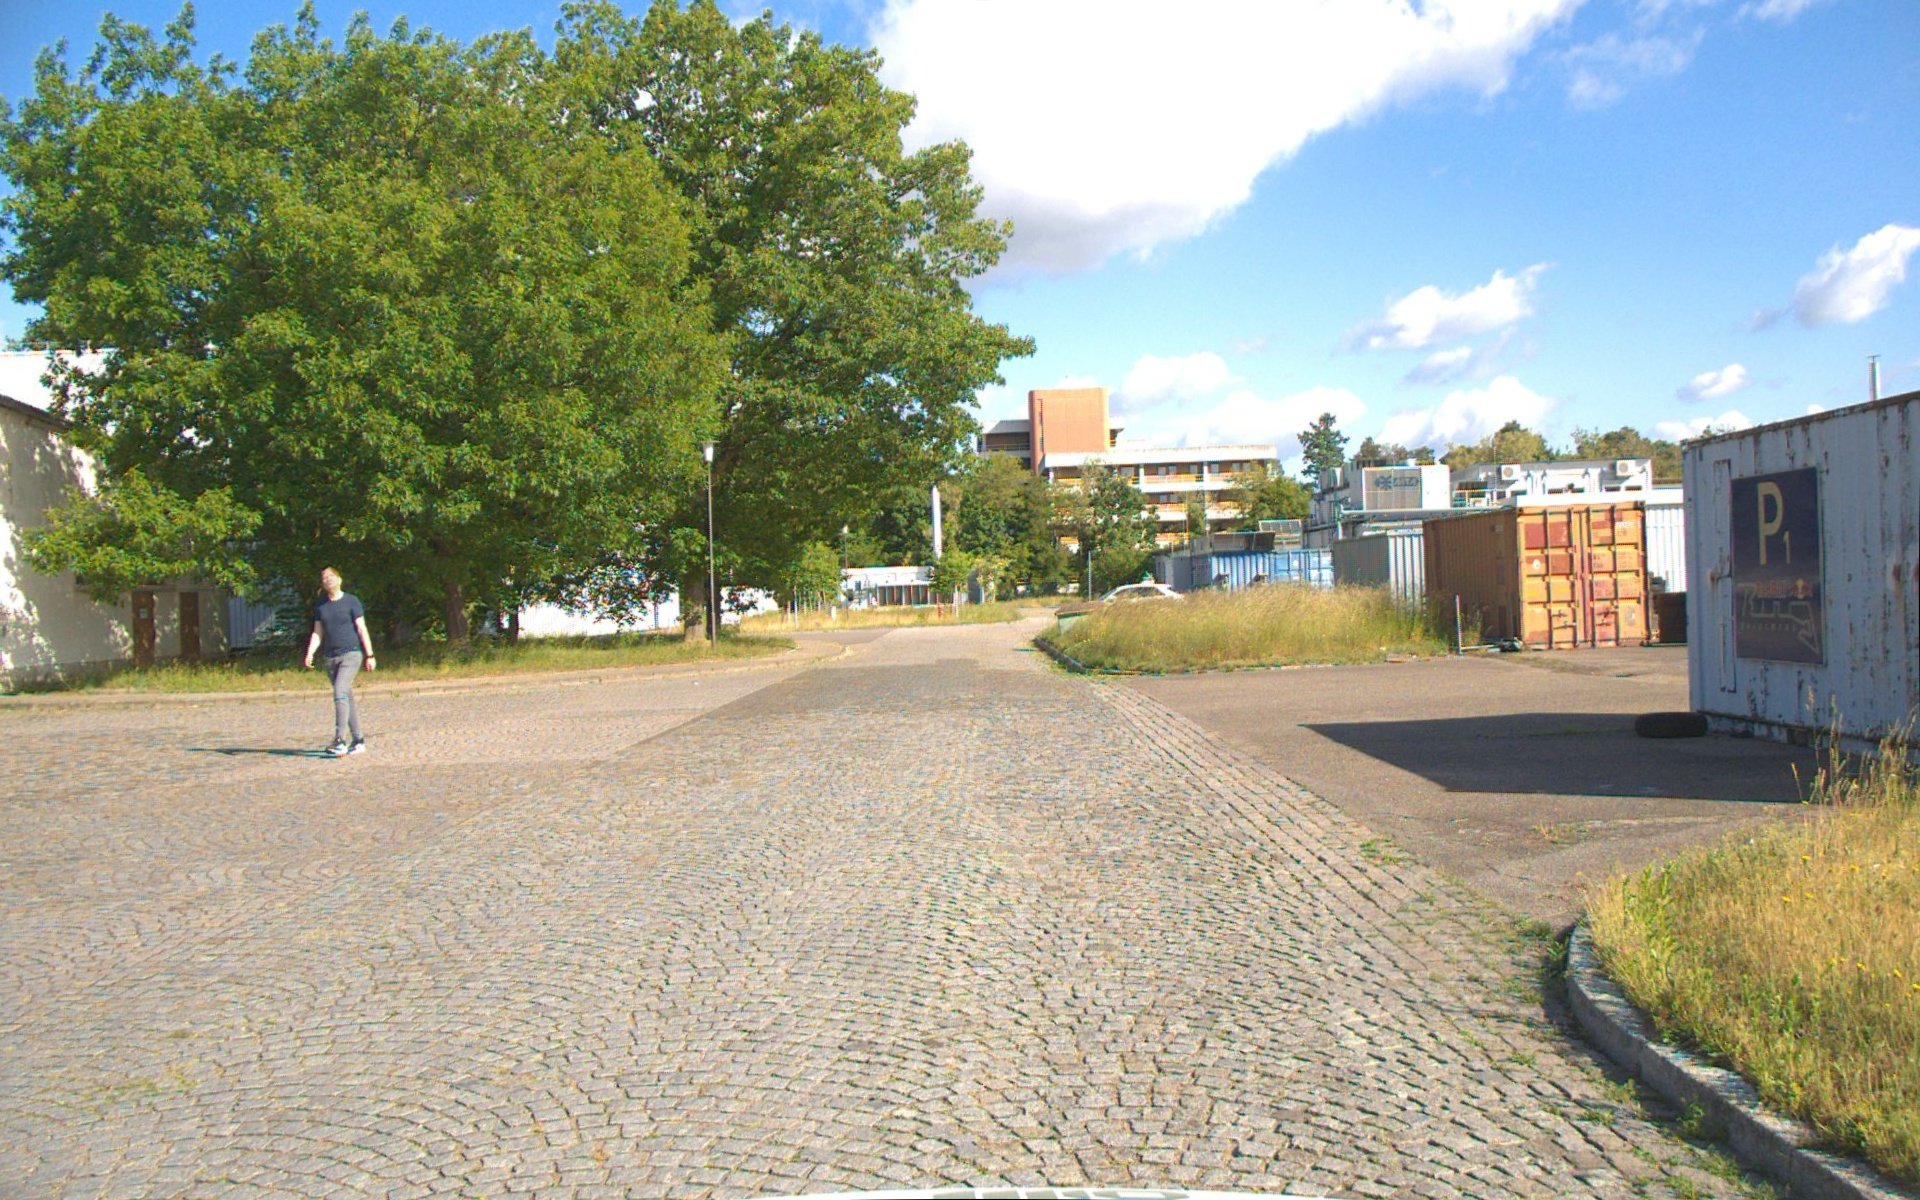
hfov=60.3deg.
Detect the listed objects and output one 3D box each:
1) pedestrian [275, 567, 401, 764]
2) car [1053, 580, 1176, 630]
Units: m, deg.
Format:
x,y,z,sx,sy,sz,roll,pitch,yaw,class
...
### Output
x,y,z,sx,sy,sz,roll,pitch,yaw,class
-6.437,0.652,17.177,0.781,1.947,1.142,-2,0,1,pedestrian
5.885,0.183,63.381,4.494,1.707,1.875,-2,0,0,car
